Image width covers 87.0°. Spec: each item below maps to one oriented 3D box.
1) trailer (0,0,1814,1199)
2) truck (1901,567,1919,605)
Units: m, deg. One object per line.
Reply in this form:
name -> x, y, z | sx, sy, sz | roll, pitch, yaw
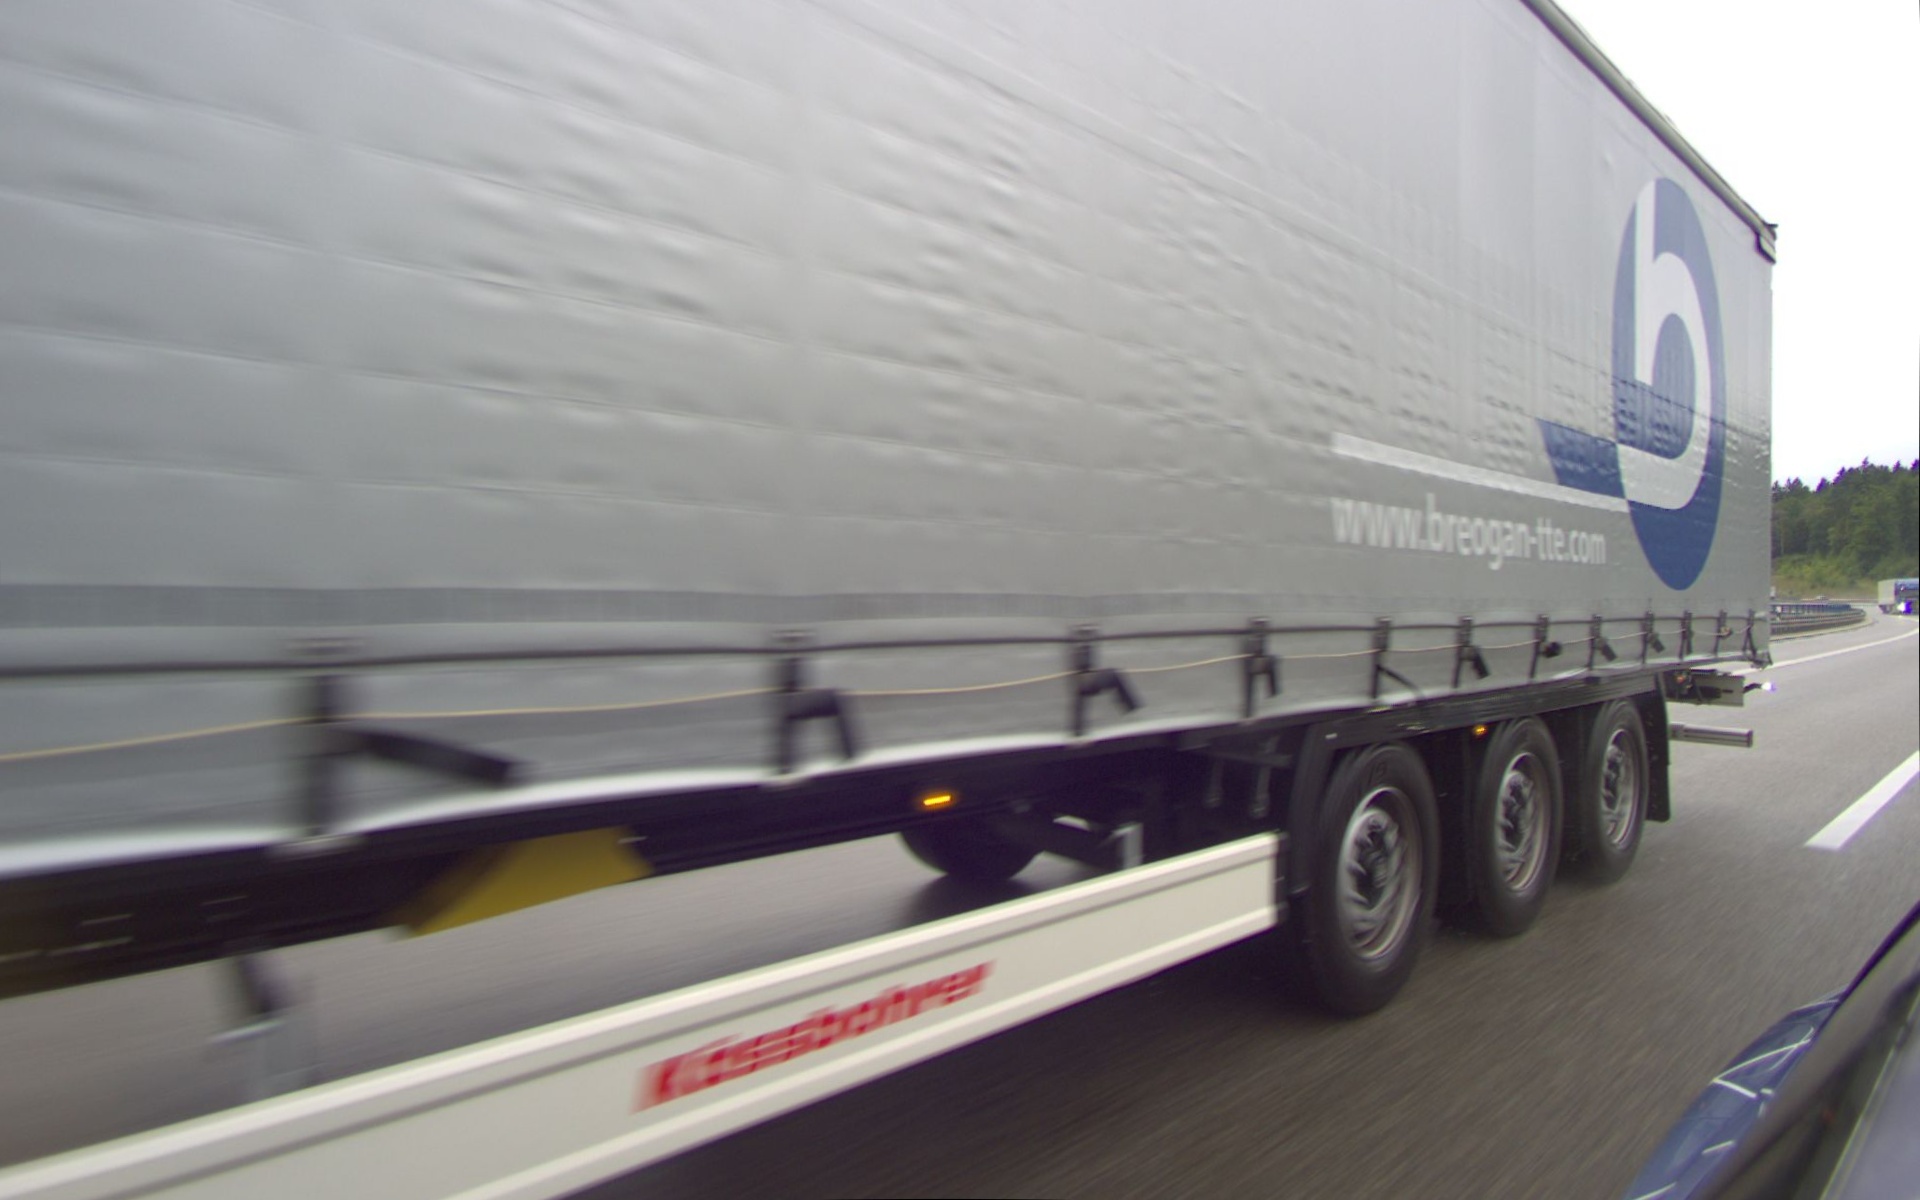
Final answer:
trailer -> -0.176, -0.643, 3.463 | 13.465, 4.091, 2.684 | 0, 1, -41
truck -> 110.411, -1.543, 116.533 | 2.731, 4.203, 8.484 | 2, 1, 44
